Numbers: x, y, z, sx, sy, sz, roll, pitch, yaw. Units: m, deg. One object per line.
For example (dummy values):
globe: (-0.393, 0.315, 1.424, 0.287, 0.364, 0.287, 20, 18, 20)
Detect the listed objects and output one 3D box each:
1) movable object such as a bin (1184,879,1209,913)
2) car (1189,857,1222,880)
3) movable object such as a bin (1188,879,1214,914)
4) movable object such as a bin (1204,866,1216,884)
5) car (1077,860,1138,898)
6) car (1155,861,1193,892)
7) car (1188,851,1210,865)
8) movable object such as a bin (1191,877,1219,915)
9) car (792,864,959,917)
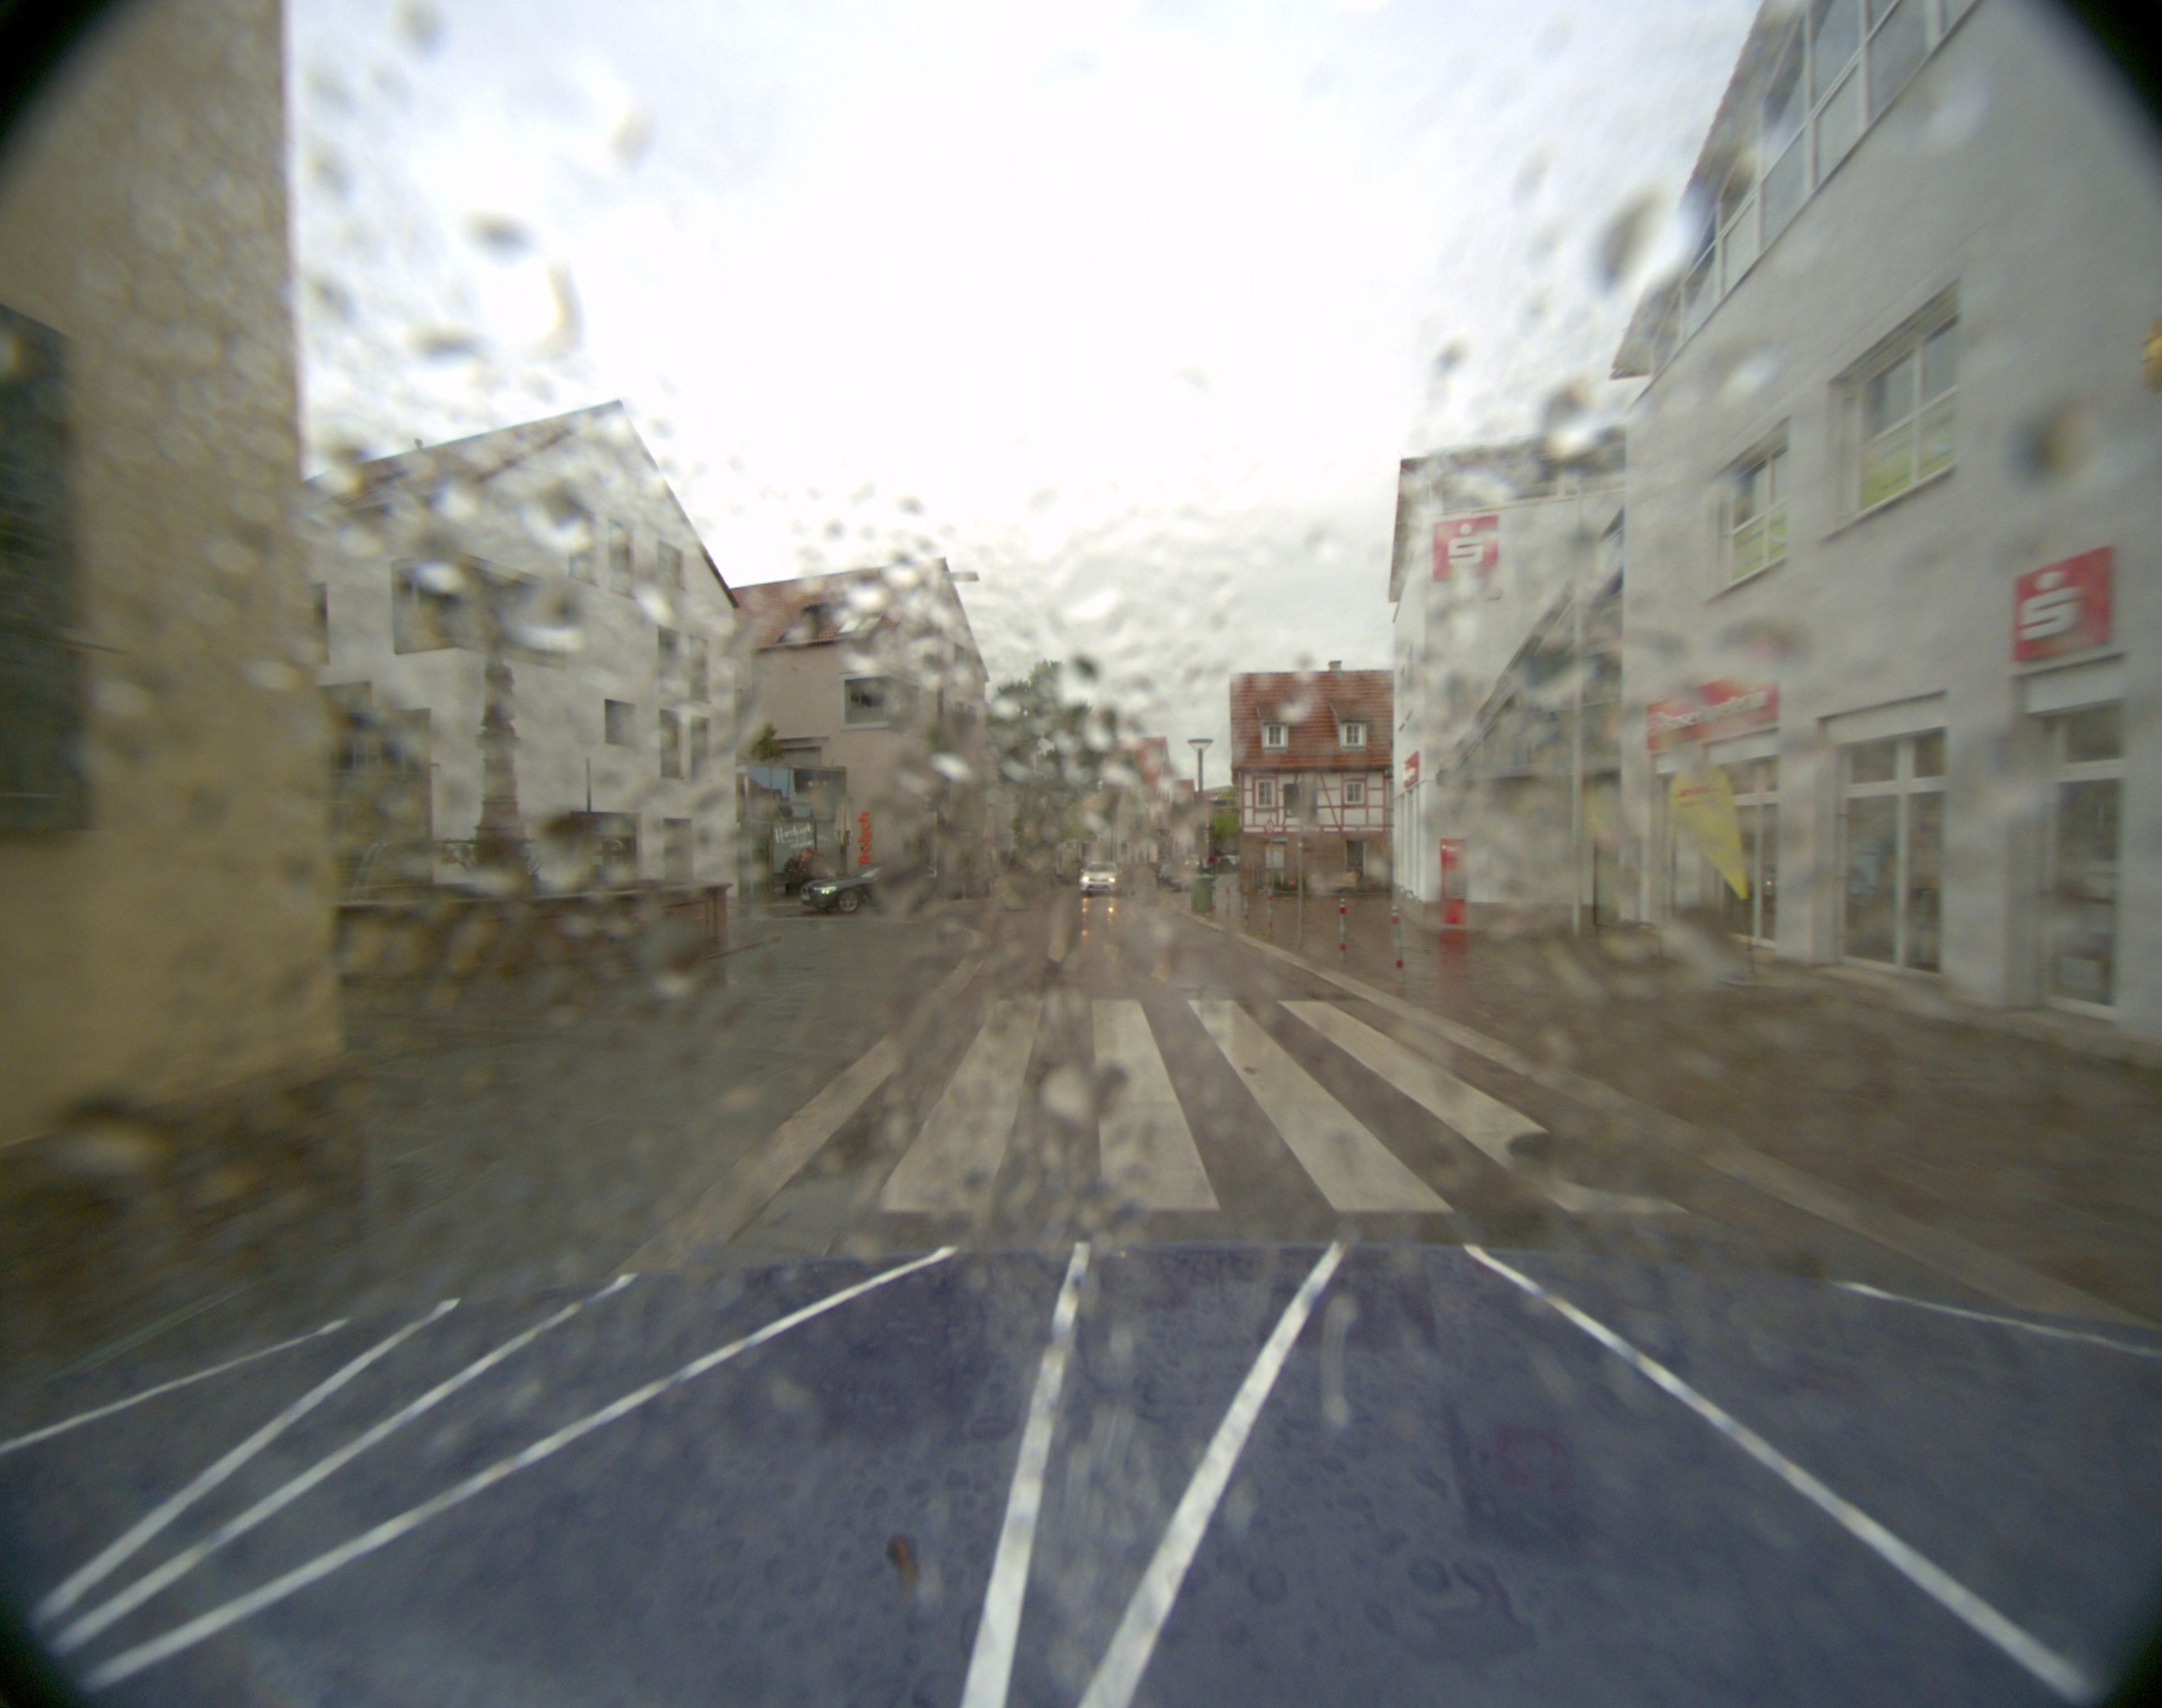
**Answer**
movable object such as a bin: (3.680, 1.323, 24.313, 0.697, 1.041, 0.645, 1, 1, 1)
car: (8.647, 0.951, 52.678, 1.805, 1.434, 4.004, -1, 1, 15)
movable object such as a bin: (3.724, 1.301, 23.575, 0.697, 1.045, 0.645, 1, 1, 1)
movable object such as a bin: (7.295, 1.185, 43.037, 0.612, 1.016, 0.530, 1, 1, 1)
car: (1.335, 1.131, 35.826, 1.865, 1.577, 4.619, 1, 1, 15)
car: (4.778, 1.143, 39.573, 1.806, 1.434, 4.001, -1, 1, 5)
car: (12.783, 0.404, 82.330, 1.865, 1.452, 4.005, 1, 1, 16)
movable object such as a bin: (3.702, 1.236, 22.735, 0.697, 1.070, 0.645, -2, 1, 1)
car: (-6.060, 1.012, 22.704, 4.455, 1.362, 1.875, 0, 1, -42)
